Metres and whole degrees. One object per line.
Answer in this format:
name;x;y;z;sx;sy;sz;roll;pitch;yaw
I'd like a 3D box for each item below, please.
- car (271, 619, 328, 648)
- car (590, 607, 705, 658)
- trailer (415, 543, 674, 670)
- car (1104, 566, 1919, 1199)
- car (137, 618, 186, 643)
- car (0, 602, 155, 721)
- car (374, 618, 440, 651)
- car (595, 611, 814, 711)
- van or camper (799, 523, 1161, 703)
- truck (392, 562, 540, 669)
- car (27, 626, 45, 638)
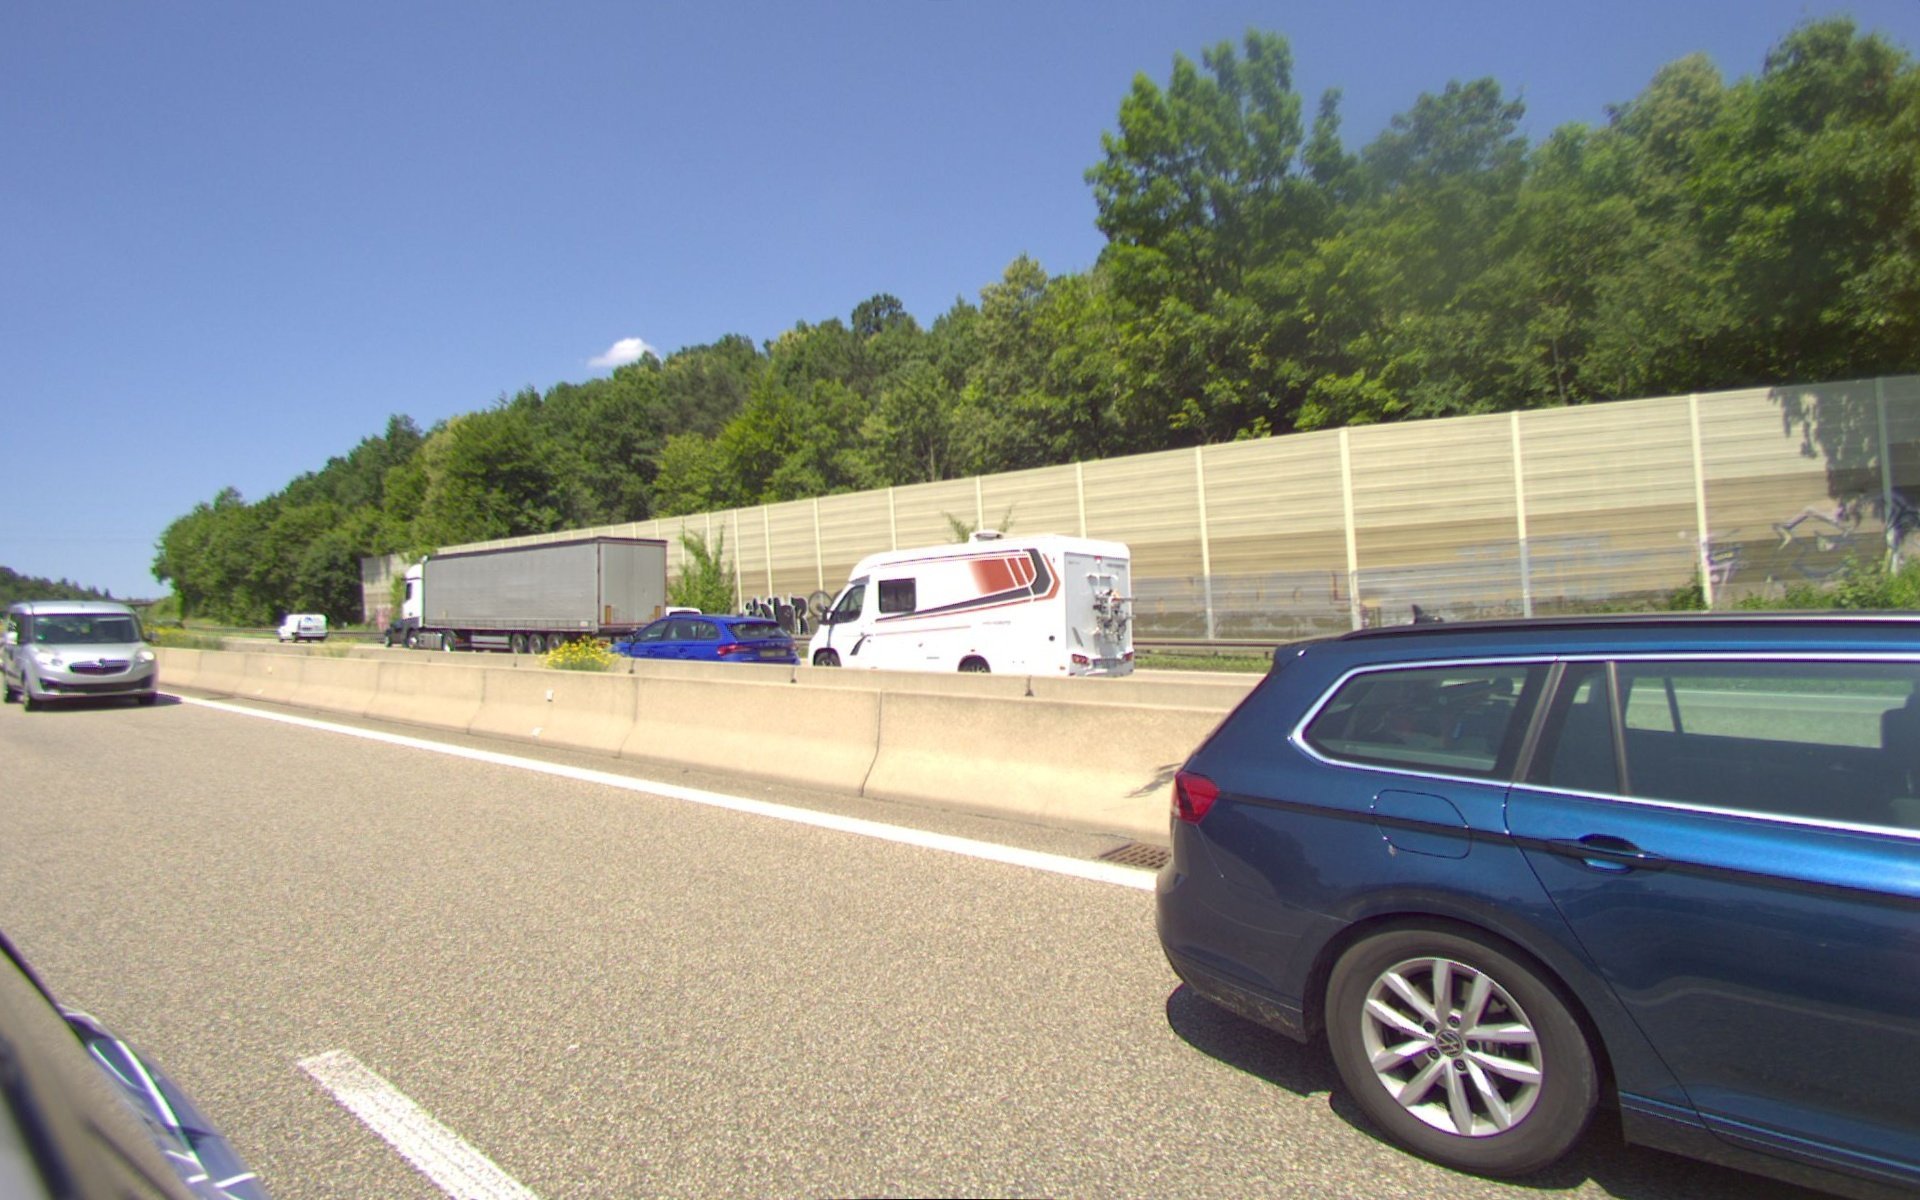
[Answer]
car;-44.995;2.226;68.886;5.301;1.881;1.901;-1;-1;41
car;-11.936;1.204;38.466;5.104;1.824;1.791;-1;-1;41
trailer;-15.596;0.276;36.933;13.818;3.938;2.784;-1;-1;41
car;2.801;0.642;2.300;4.727;1.438;1.714;-1;-1;41
car;-52.752;1.991;66.829;4.601;1.588;1.791;-1;-1;41
car;-15.622;1.005;17.817;4.001;1.858;1.756;-2;-1;44
car;-29.456;1.806;53.827;4.097;1.653;1.791;-1;-1;41
car;-4.591;1.003;17.881;4.125;1.549;1.693;-2;-1;40
van or camper;0.126;0.237;18.601;6.801;2.756;2.246;-1;-1;40
truck;-20.047;0.621;40.867;7.312;3.938;2.783;-1;-1;42
car;-136.238;4.710;149.175;3.712;1.663;1.625;-2;-1;43
